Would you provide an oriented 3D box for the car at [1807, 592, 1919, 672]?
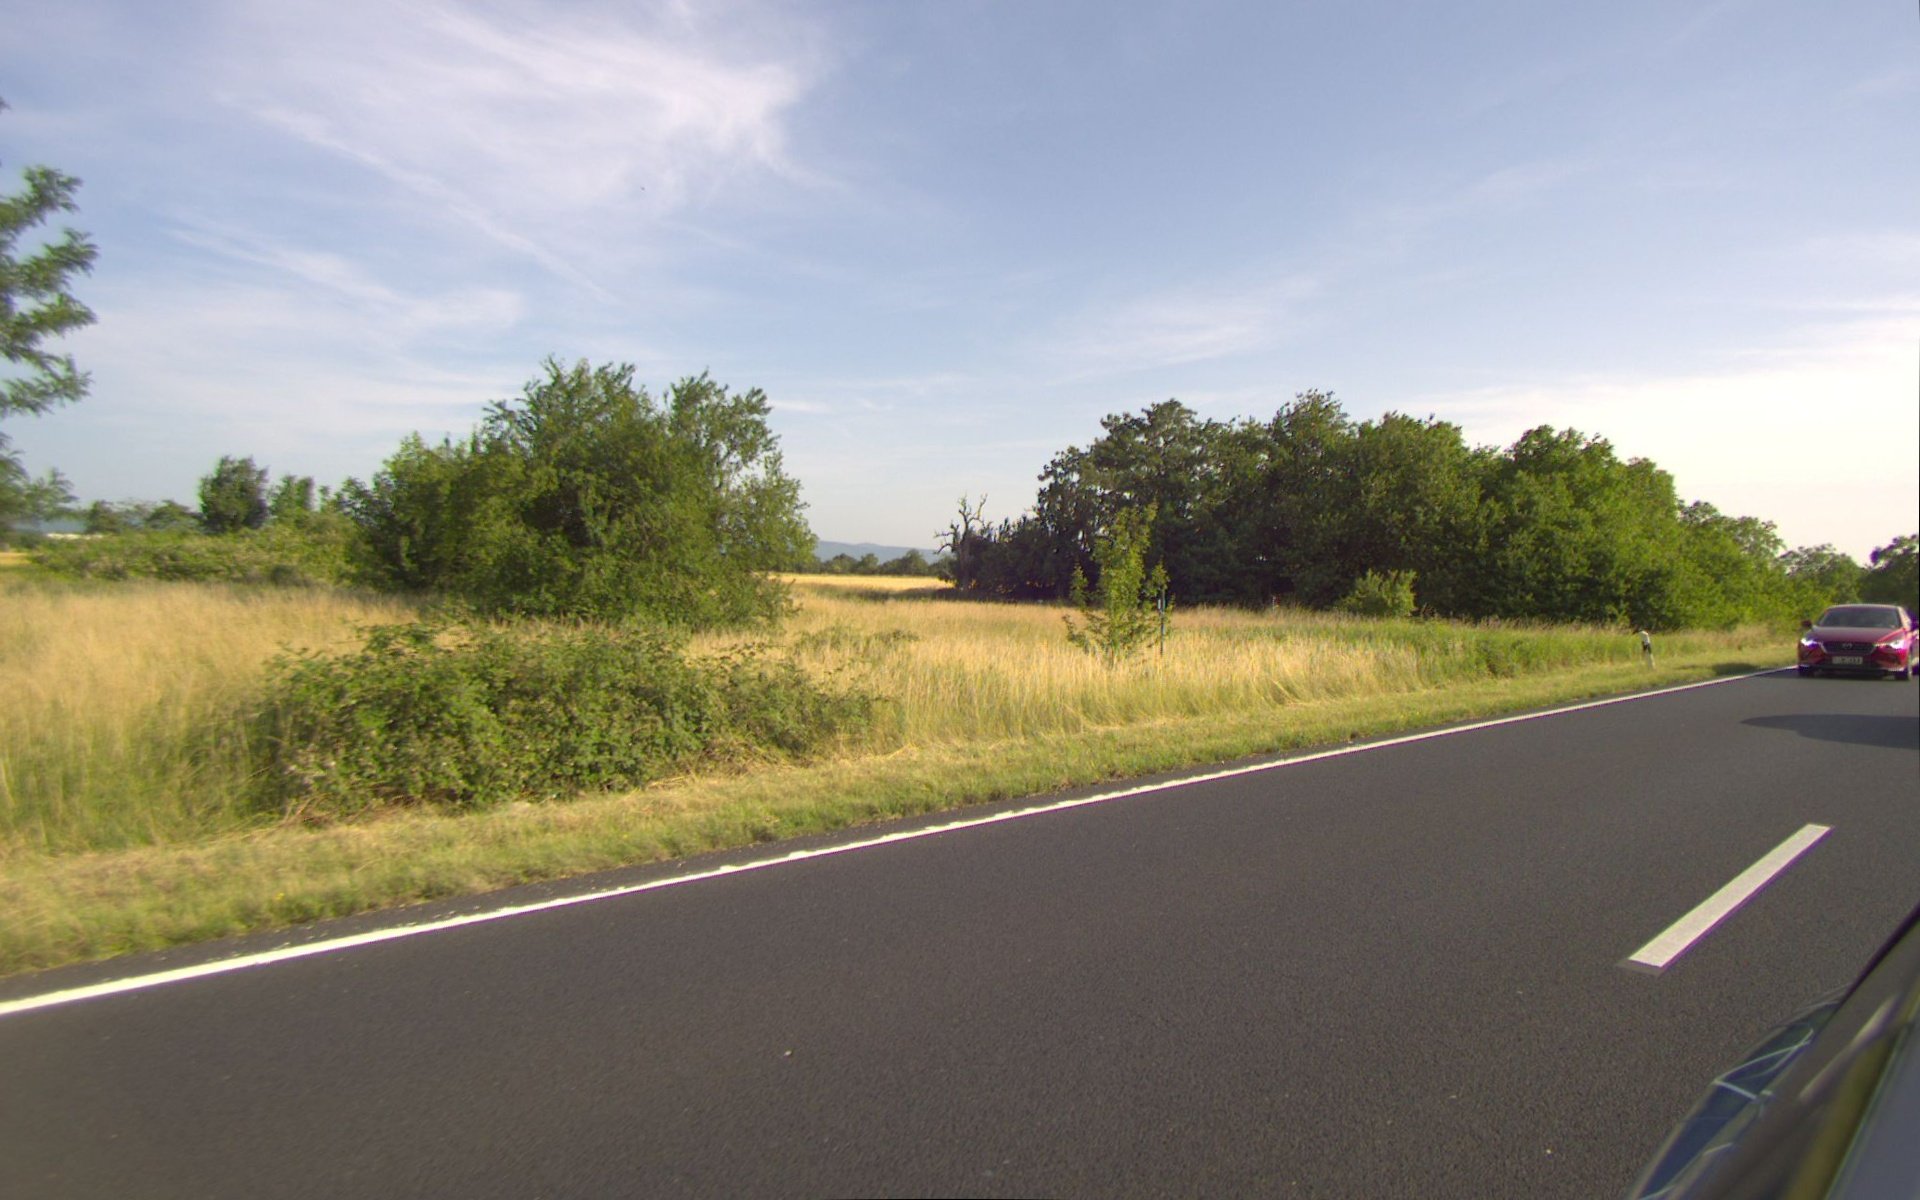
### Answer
[{"bbox_3d":[19.513,0.594,21.515,4.423,1.525,1.707,-1,1,-42],"label":"car"}]
